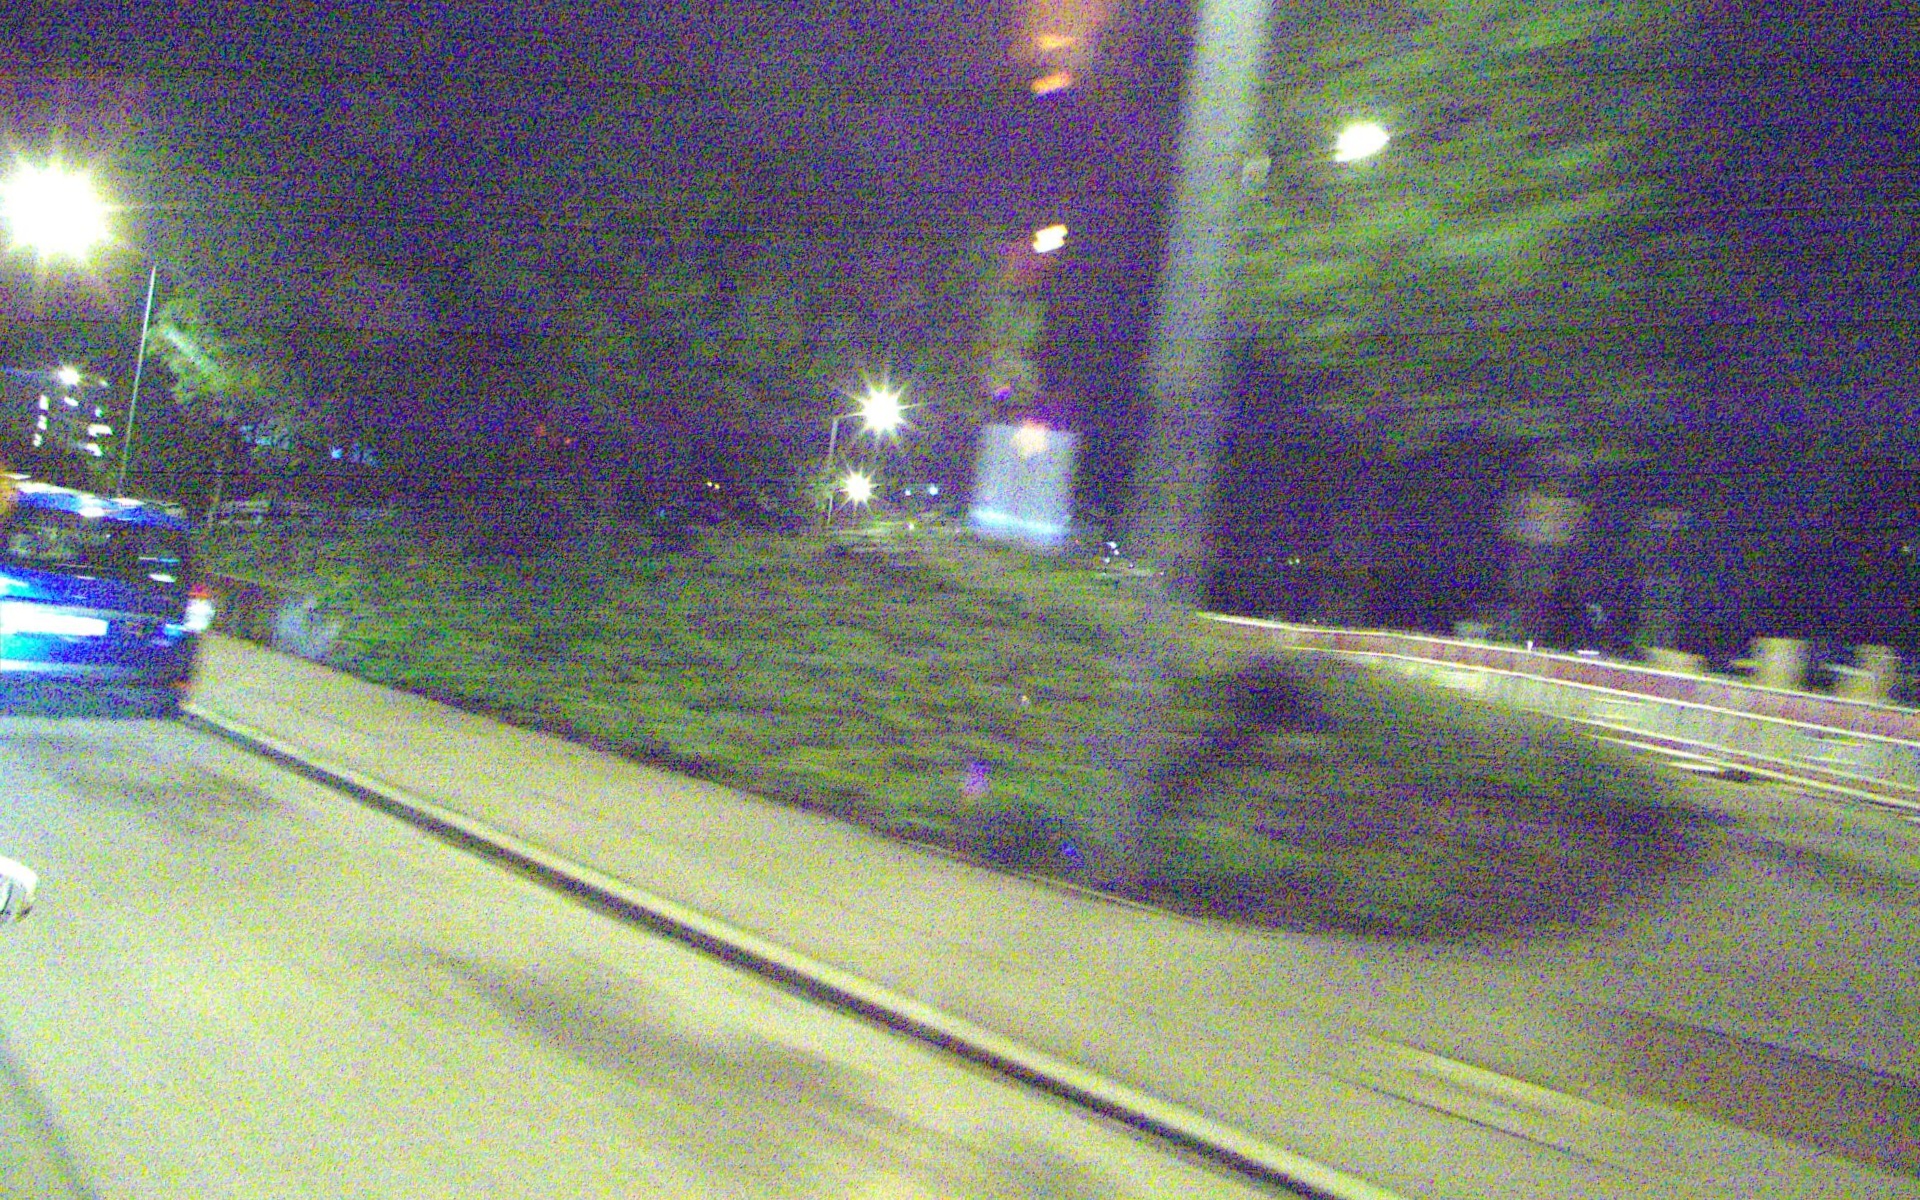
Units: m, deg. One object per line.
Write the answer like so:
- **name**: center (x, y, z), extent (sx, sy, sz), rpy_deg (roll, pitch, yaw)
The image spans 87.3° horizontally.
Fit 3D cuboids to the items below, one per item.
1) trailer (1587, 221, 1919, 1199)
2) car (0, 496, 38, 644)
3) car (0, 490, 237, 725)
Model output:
- **trailer**: center (3.968, 0.738, 1.222), extent (5.121, 2.187, 1.565), rpy_deg (6, 0, 7)
- **car**: center (-14.086, -0.594, 13.392), extent (3.938, 1.841, 1.723), rpy_deg (5, -4, 36)
- **car**: center (-8.337, -0.025, 8.979), extent (3.938, 1.679, 1.723), rpy_deg (5, -4, 36)
